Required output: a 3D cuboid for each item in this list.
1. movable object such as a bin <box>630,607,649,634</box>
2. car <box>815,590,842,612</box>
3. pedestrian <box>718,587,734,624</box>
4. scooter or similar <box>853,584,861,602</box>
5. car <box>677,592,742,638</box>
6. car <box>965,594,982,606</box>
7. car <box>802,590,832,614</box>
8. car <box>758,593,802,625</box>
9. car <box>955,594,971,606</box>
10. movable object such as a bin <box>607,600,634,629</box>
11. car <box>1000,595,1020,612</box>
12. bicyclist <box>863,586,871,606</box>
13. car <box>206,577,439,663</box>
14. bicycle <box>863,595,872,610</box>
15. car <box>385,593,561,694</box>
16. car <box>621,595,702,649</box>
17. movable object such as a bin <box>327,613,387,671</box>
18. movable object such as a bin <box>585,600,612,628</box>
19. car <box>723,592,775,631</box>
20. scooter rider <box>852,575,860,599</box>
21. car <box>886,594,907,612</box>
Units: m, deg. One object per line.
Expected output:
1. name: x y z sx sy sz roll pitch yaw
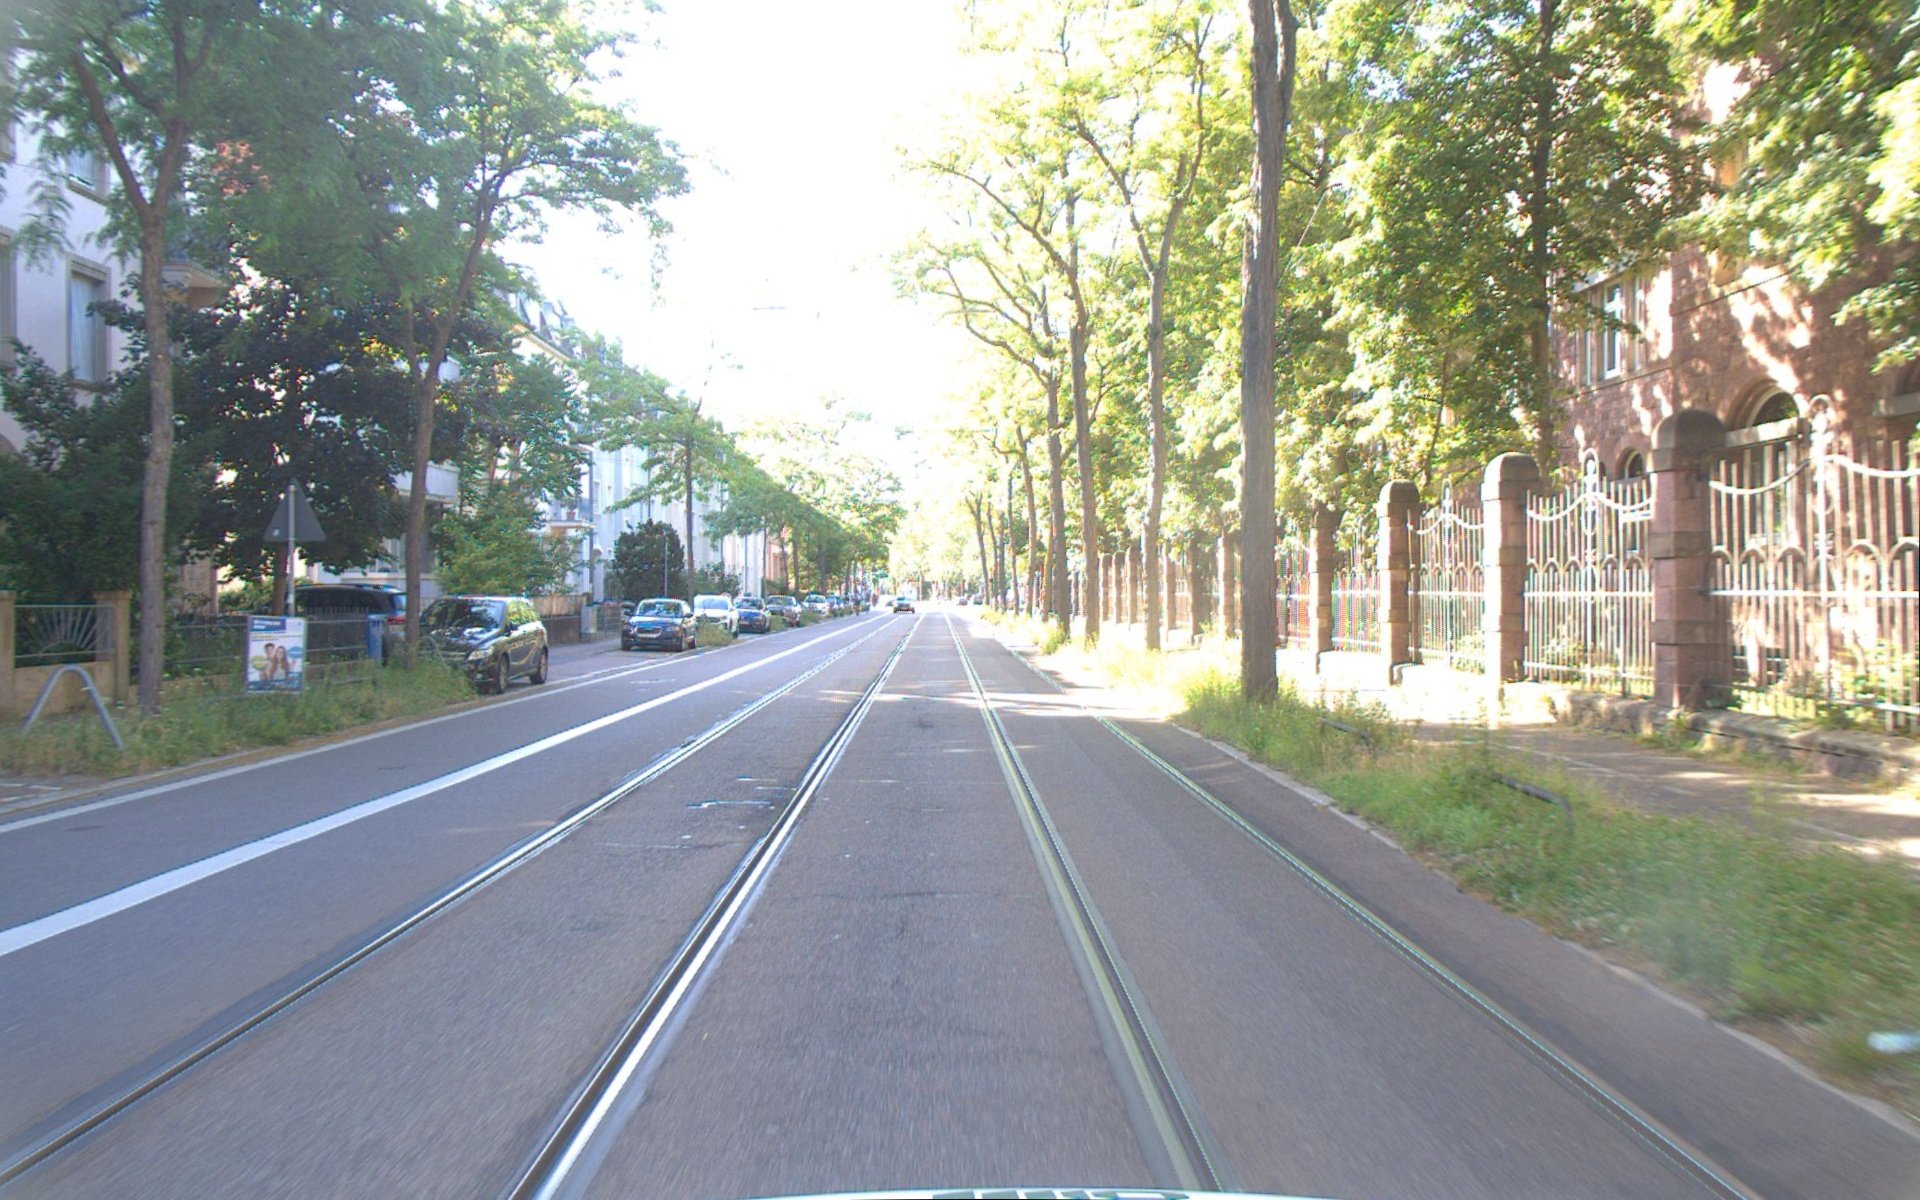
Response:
1. movable object such as a bin: -12.181 0.767 62.912 0.548 0.992 0.733 2 0 2
2. car: -9.279 0.062 116.826 1.653 1.511 3.758 2 0 -2
3. pedestrian: -11.465 0.264 80.977 0.677 1.833 0.813 -1 0 -1
4. scooter or similar: -7.806 -0.504 125.207 0.510 1.320 1.377 -3 0 -1
5. car: -8.867 0.496 58.882 1.780 1.537 4.369 1 0 -2
6. car: 1.903 -0.049 227.987 1.905 1.638 3.995 0 0 -6
7. car: -9.376 0.116 108.728 1.668 1.511 4.078 2 0 -1
8. car: -8.959 0.430 82.431 1.780 1.511 4.205 1 0 -1
9. car: 0.472 -0.010 242.079 1.905 1.638 3.995 0 0 -6
10. movable object such as a bin: -12.884 0.551 62.828 0.827 1.064 0.733 2 0 2
11. car: 5.141 0.381 170.976 1.802 1.684 3.577 0 0 -3
12. bicyclist: -7.815 -0.328 138.918 0.613 1.667 0.940 -3 0 -1
13. car: -13.240 0.406 34.537 4.082 1.688 1.982 1 0 -3
14. bicycle: -7.799 0.202 139.018 0.614 1.198 1.913 -3 0 -1
15. car: -8.274 0.677 28.523 1.740 1.568 4.485 1 0 -1
16. car: -8.547 0.599 47.683 1.671 1.431 4.332 1 0 -2
17. movable object such as a bin: -11.643 0.800 31.966 0.857 1.084 0.814 0 0 -1
18. movable object such as a bin: -13.731 0.528 62.851 0.827 1.064 0.733 2 0 2
19. car: -8.795 0.451 69.253 1.722 1.537 4.437 1 0 -2
20. scooter rider: -7.844 -0.979 125.183 0.486 1.729 0.786 -3 0 -1
21. car: -5.249 0.213 137.812 1.722 1.464 4.522 0 0 -2
